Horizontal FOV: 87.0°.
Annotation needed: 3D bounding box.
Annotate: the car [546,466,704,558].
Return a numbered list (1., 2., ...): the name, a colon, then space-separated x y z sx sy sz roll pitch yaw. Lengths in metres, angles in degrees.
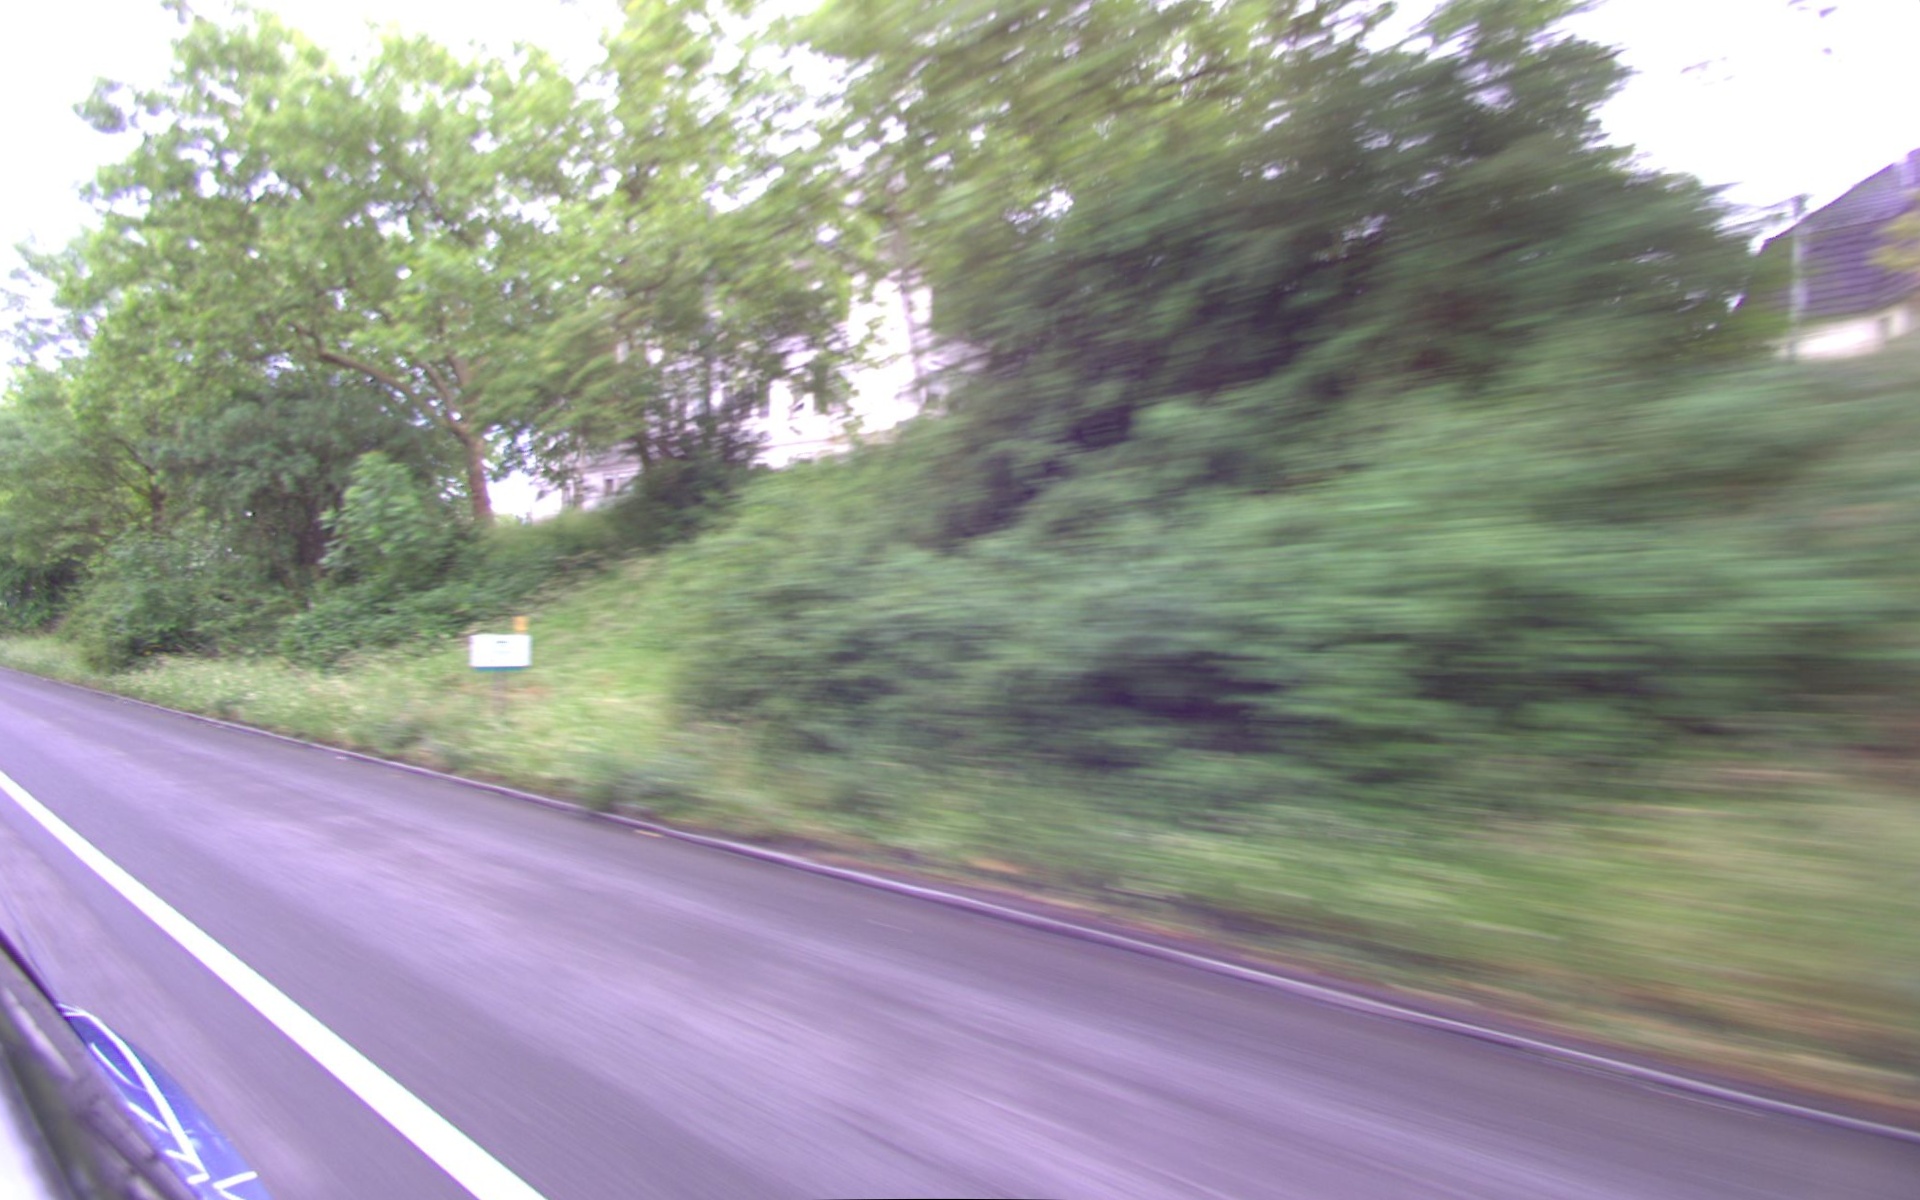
1. car: -8.791 -2.201 26.468 3.992 2.029 1.976 -1 0 36
